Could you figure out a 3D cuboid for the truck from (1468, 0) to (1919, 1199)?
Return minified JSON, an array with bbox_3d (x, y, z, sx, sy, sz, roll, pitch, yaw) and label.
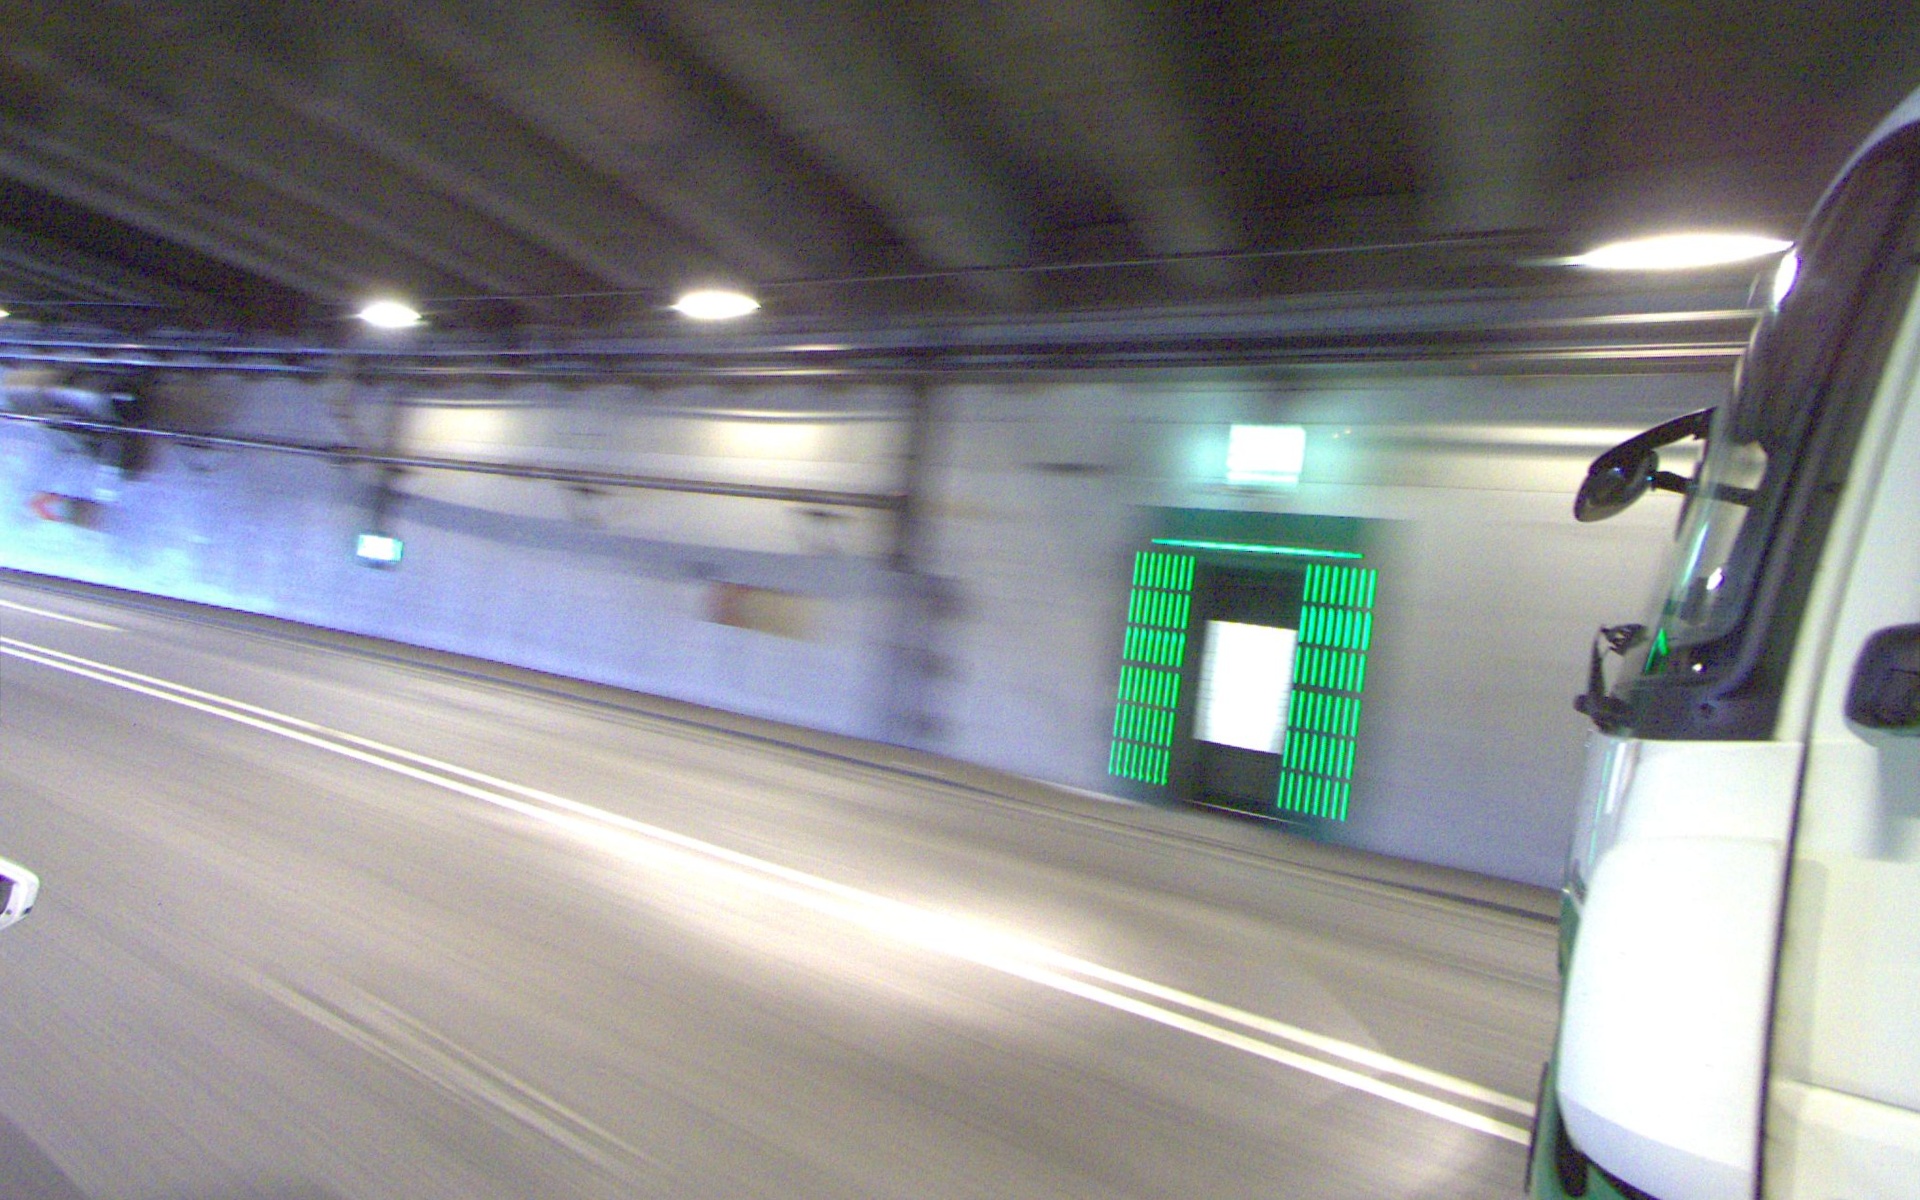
[{"bbox_3d":[4.428,0.410,0.237,7.300,3.276,2.633,6,-2,35],"label":"truck"}]
